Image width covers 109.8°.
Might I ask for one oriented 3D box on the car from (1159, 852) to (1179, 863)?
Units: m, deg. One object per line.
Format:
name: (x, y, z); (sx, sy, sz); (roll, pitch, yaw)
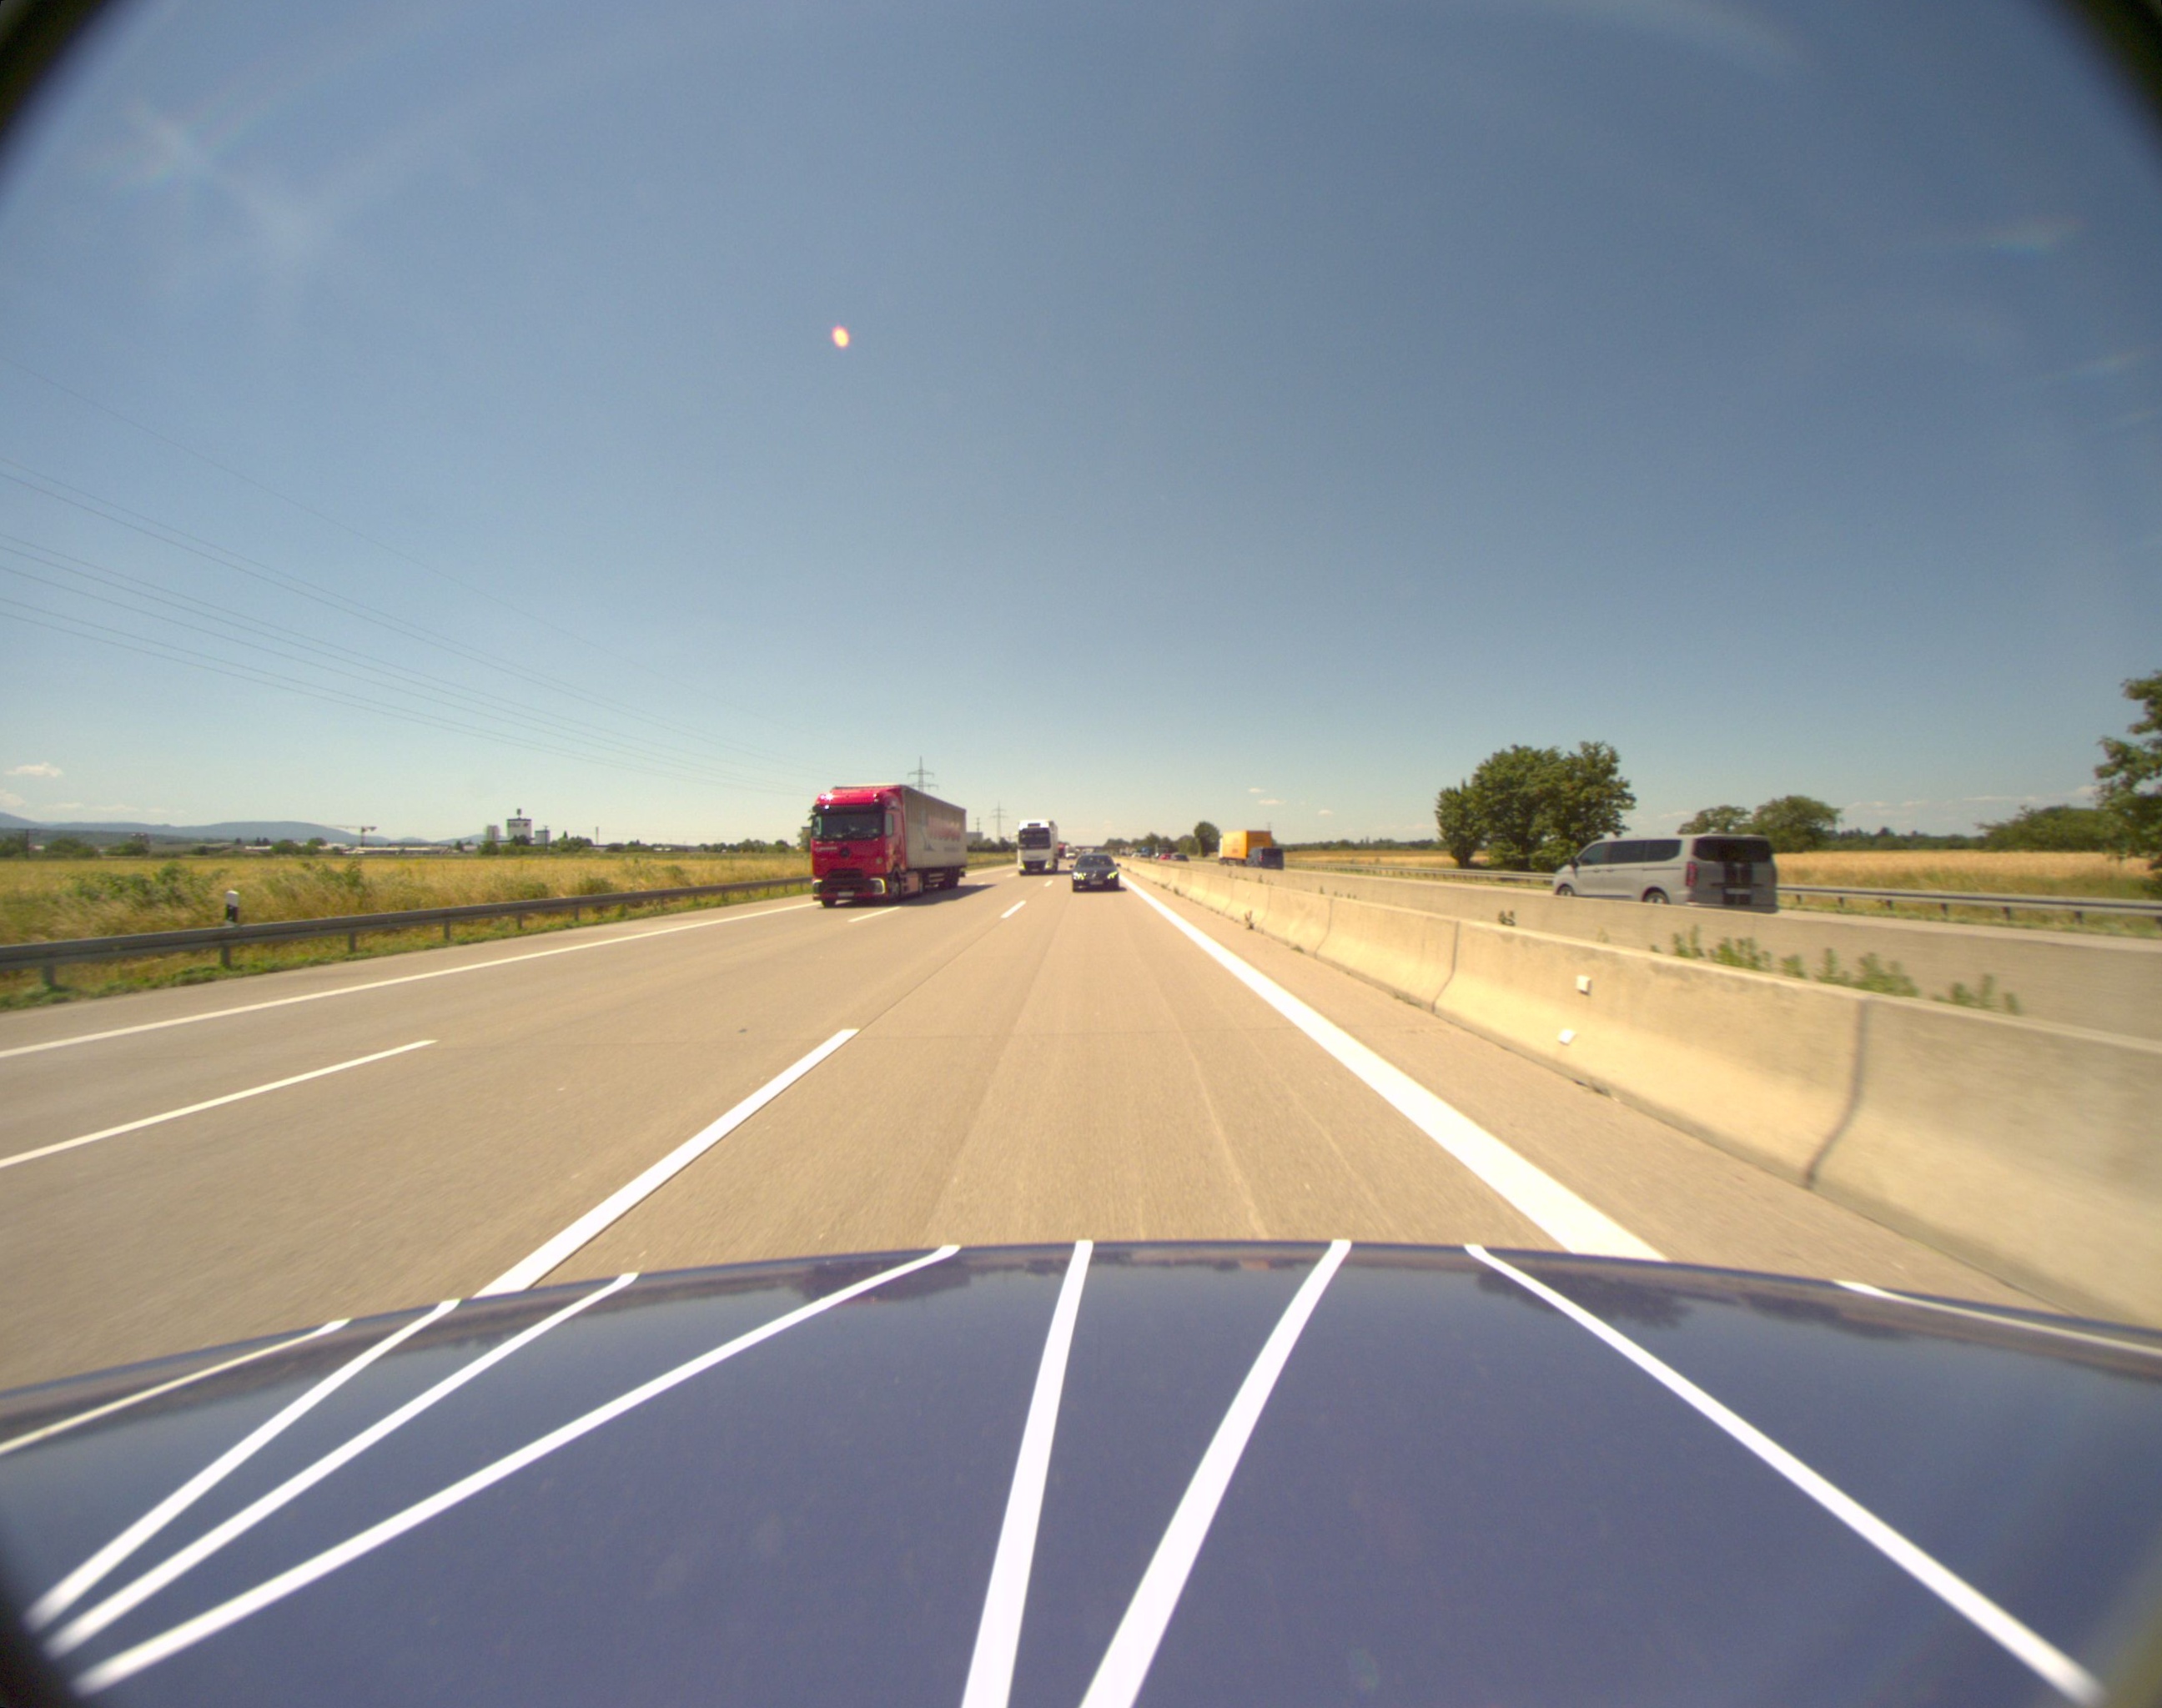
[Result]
car: (11.030, 0.407, 95.393); (1.998, 1.386, 4.716); (0, 0, 1)

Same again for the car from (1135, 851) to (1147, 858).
car: (11.449, 0.099, 145.881); (1.998, 1.356, 4.670); (1, 0, 1)

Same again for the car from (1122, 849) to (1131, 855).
car: (12.359, -0.561, 206.988); (1.998, 1.567, 4.848); (-2, 0, 1)

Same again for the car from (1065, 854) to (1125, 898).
car: (0.473, 0.732, 28.575); (1.998, 1.462, 6.347); (0, 0, 0)

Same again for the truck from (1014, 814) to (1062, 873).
truck: (-3.118, -0.727, 56.376); (2.992, 4.039, 5.477); (-2, 0, 1)

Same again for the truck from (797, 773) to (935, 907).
truck: (-7.287, -0.436, 26.799); (2.913, 4.077, 6.271); (-2, 0, 0)

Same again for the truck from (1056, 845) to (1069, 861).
truck: (-5.021, -0.349, 211.413); (2.855, 4.297, 10.886); (-2, 0, 1)

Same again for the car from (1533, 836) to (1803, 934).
car: (13.396, 0.592, 17.998); (1.998, 1.928, 5.689); (1, 0, 1)

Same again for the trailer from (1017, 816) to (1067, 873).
trailer: (-2.990, -0.728, 63.203); (3.025, 4.037, 14.206); (-2, 0, 1)

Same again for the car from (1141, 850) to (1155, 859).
car: (10.865, 0.089, 123.267); (1.998, 1.476, 4.710); (0, 0, 1)

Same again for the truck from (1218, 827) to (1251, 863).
truck: (18.242, -1.092, 90.825); (2.875, 4.171, 5.229); (1, 1, 1)

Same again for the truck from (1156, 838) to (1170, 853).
truck: (19.438, -1.968, 180.991); (2.561, 3.492, 7.884); (0, 0, 1)

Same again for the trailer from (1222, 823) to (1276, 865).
trailer: (18.182, -1.059, 83.509); (2.880, 4.174, 14.139); (1, 1, 1)

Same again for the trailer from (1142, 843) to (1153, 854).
trailer: (20.132, -1.581, 230.432); (2.521, 3.253, 9.252); (-2, 0, 0)

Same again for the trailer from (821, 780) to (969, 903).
trailer: (-7.304, -0.452, 32.524); (2.881, 4.077, 13.511); (-2, 0, 0)

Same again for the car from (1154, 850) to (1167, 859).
car: (15.012, 0.142, 143.237); (1.998, 1.551, 4.512); (2, 0, 1)

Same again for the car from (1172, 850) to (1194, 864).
car: (10.285, 0.281, 77.173); (1.694, 1.324, 4.000); (-2, 0, 1)

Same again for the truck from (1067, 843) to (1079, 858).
truck: (-1.930, -0.891, 183.051); (2.784, 3.328, 7.812); (-2, 0, 0)

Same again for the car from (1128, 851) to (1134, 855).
car: (16.326, -0.316, 249.093); (1.724, 1.440, 4.708); (-2, 0, 0)

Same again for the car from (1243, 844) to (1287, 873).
car: (13.706, 0.339, 56.943); (1.936, 1.988, 5.517); (-2, 0, 1)
